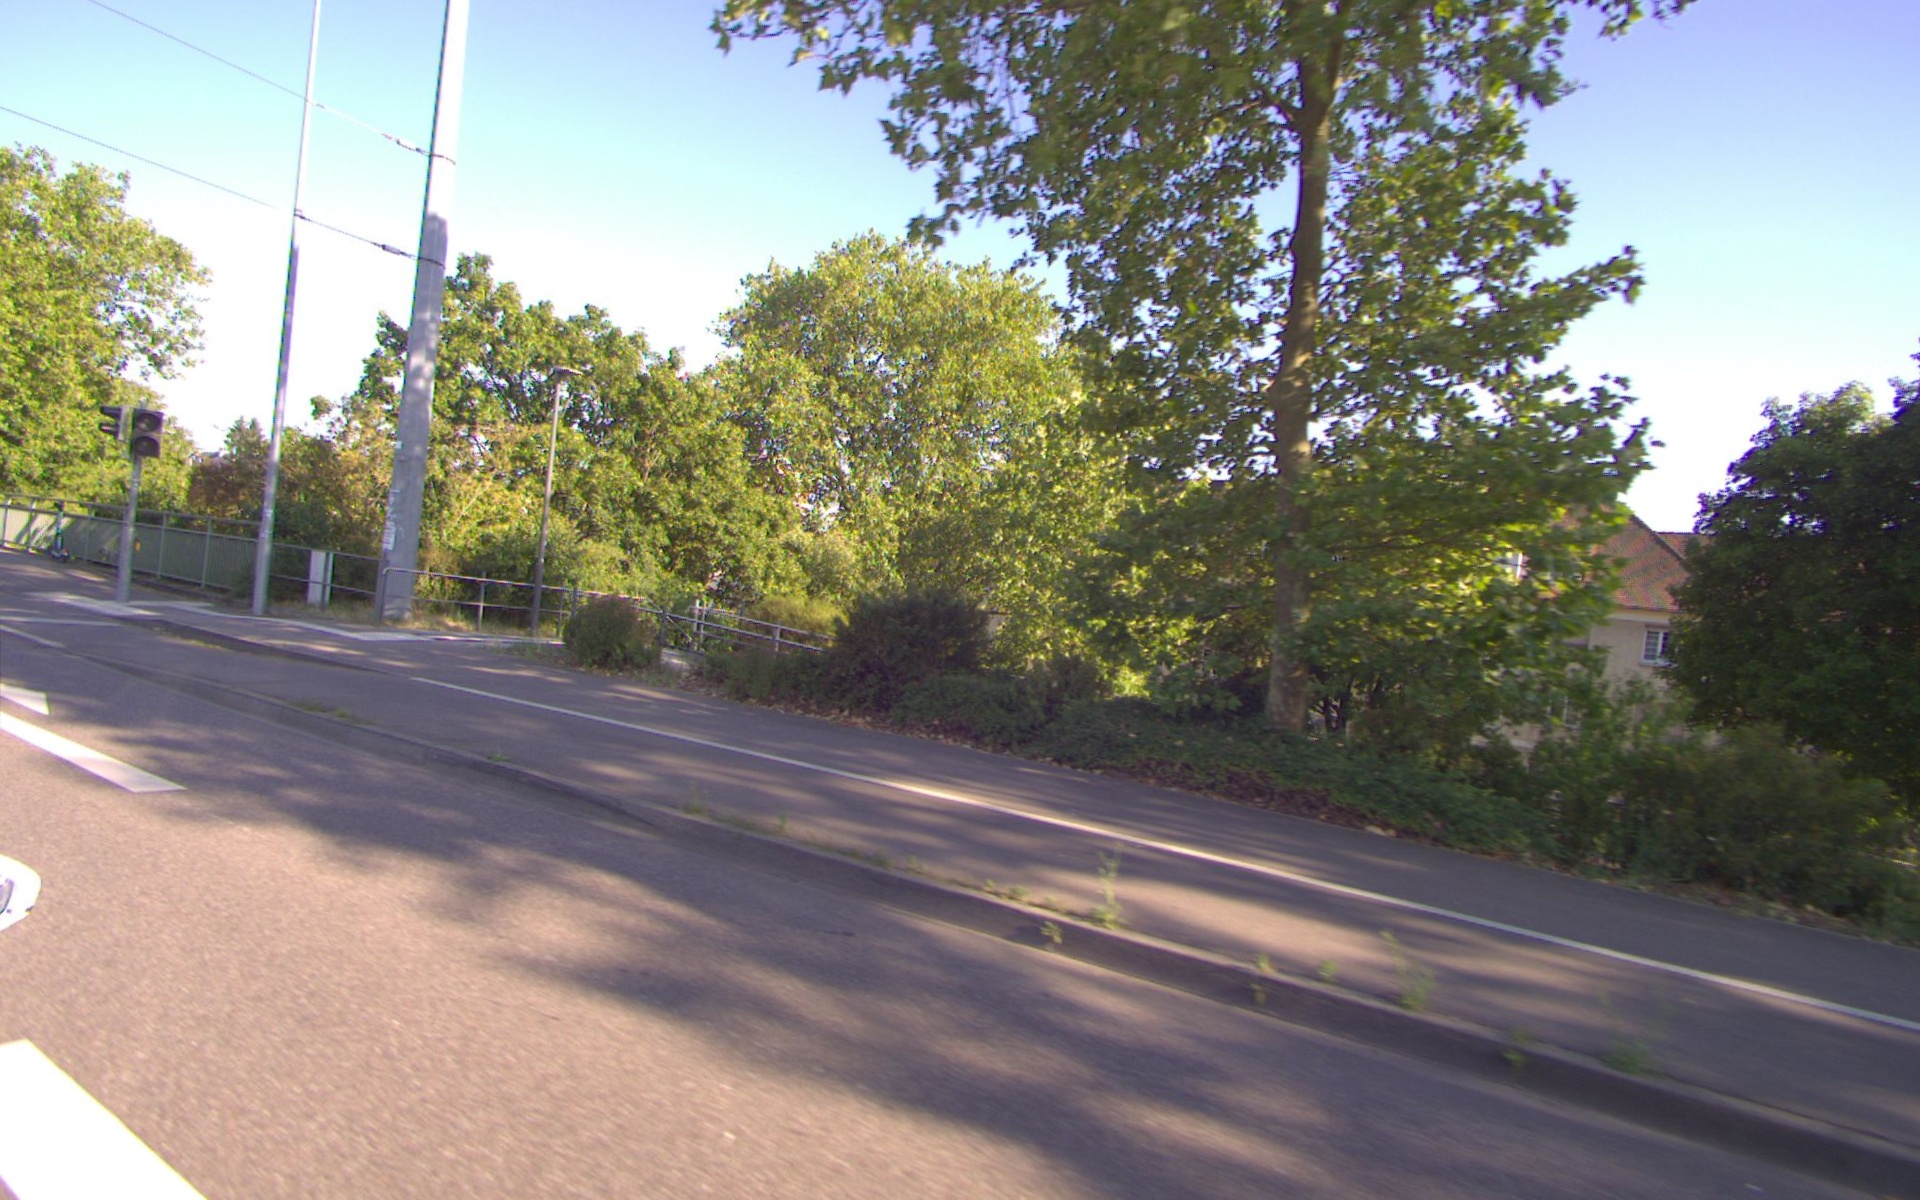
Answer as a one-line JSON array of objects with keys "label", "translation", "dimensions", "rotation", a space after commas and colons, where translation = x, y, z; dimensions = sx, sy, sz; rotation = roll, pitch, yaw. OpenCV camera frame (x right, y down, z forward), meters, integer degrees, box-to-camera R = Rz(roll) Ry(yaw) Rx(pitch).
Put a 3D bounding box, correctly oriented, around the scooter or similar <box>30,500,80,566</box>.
[{"label": "scooter or similar", "translation": [-19.368, -1.443, 21.517], "dimensions": [1.065, 1.291, 0.427], "rotation": [7, 1, 32]}]
